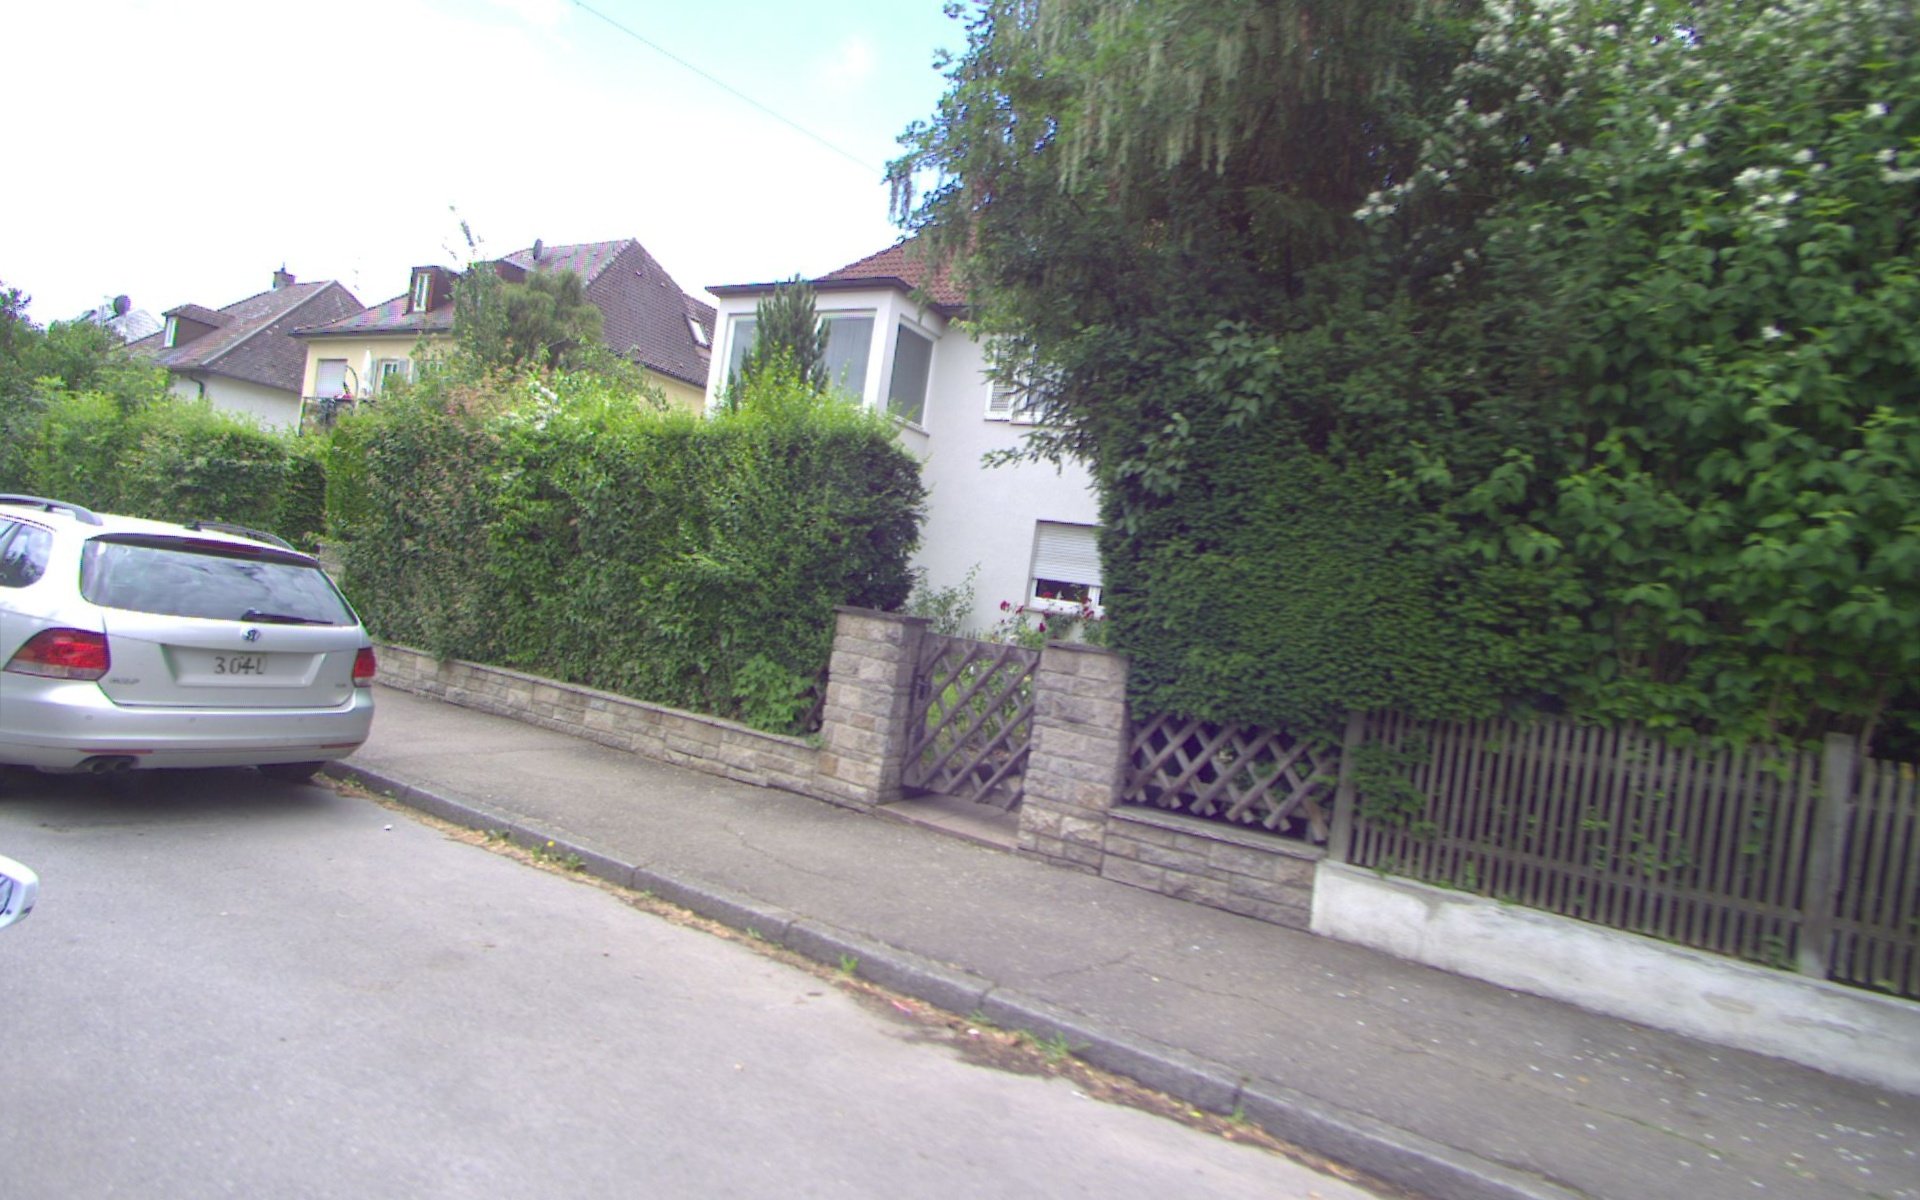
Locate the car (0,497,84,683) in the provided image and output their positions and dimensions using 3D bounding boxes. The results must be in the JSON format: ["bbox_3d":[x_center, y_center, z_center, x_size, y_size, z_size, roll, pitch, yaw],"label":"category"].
[{"bbox_3d":[-9.609,-0.324,8.656,4.069,1.477,1.721,7,-1,29],"label":"car"}]

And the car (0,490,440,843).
[{"bbox_3d":[-5.391,0.162,6.135,4.283,1.494,1.760,7,-1,29],"label":"car"}]
